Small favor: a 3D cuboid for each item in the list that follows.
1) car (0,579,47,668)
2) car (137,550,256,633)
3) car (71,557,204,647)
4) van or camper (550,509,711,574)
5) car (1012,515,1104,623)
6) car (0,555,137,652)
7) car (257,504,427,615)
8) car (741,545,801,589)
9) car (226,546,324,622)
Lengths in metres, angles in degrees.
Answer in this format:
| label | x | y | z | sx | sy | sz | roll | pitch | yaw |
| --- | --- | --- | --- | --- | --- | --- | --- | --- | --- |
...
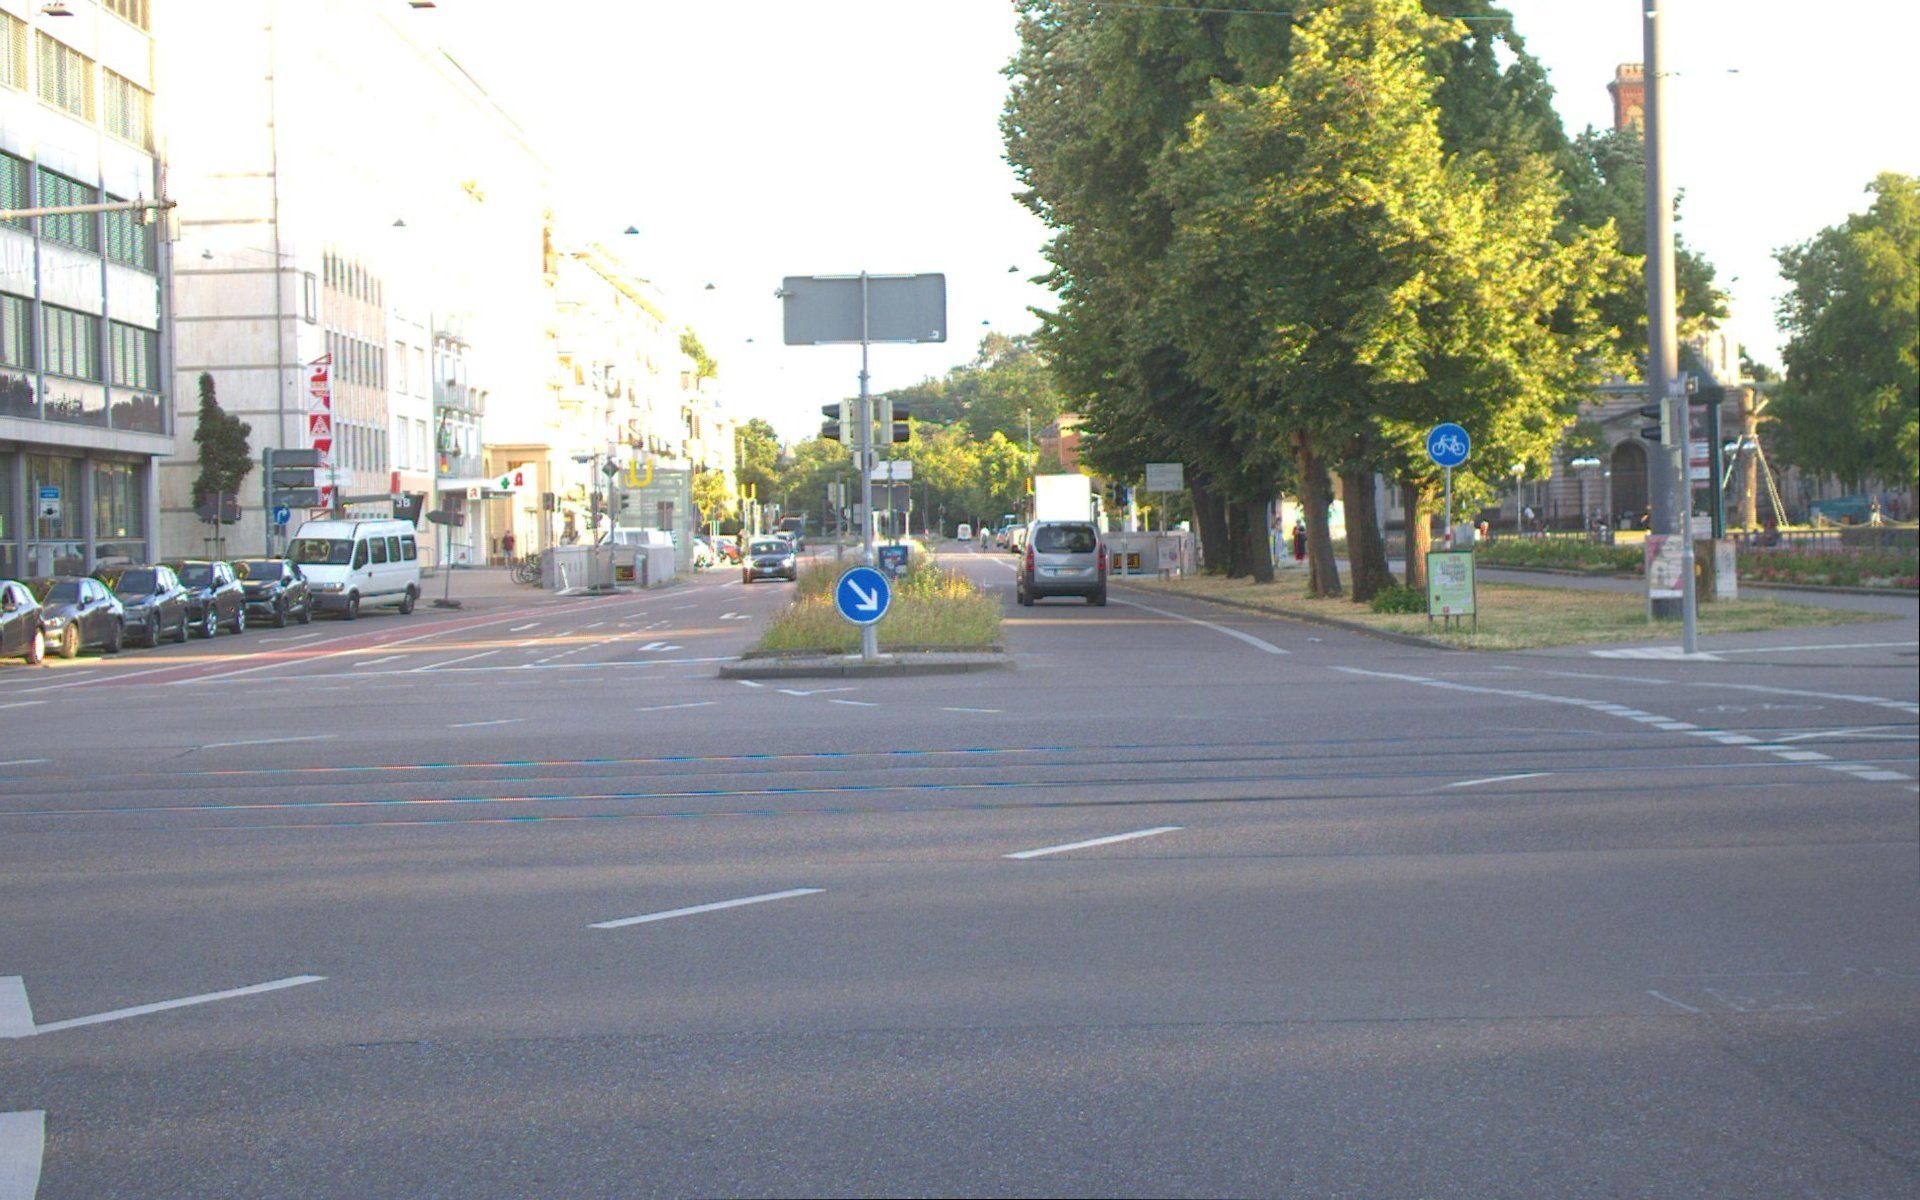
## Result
| label | x | y | z | sx | sy | sz | roll | pitch | yaw |
| --- | --- | --- | --- | --- | --- | --- | --- | --- | --- |
| car | -16.646 | 0.365 | 57.556 | 1.693 | 1.406 | 3.868 | 2 | 1 | -1 |
| car | -16.467 | -0.201 | 74.272 | 1.693 | 1.659 | 3.868 | 2 | 1 | -1 |
| car | -16.471 | 0.014 | 69.029 | 1.693 | 1.659 | 3.868 | 2 | 1 | 0 |
| van or camper | -12.418 | -2.208 | 129.783 | 5.508 | 2.159 | 2.245 | -3 | 1 | -30 |
| car | 2.103 | -0.698 | 74.509 | 1.884 | 2.230 | 3.910 | -2 | 1 | 1 |
| car | -16.581 | 0.045 | 63.743 | 1.693 | 1.659 | 3.868 | 2 | 1 | -1 |
| car | -15.573 | -1.031 | 86.960 | 2.238 | 2.620 | 5.851 | 2 | 1 | 10 |
| car | -6.450 | -1.149 | 117.446 | 1.693 | 1.416 | 4.174 | -2 | 1 | 1 |
| car | -16.003 | -0.393 | 80.435 | 1.499 | 1.659 | 3.868 | 2 | 1 | -1 |
